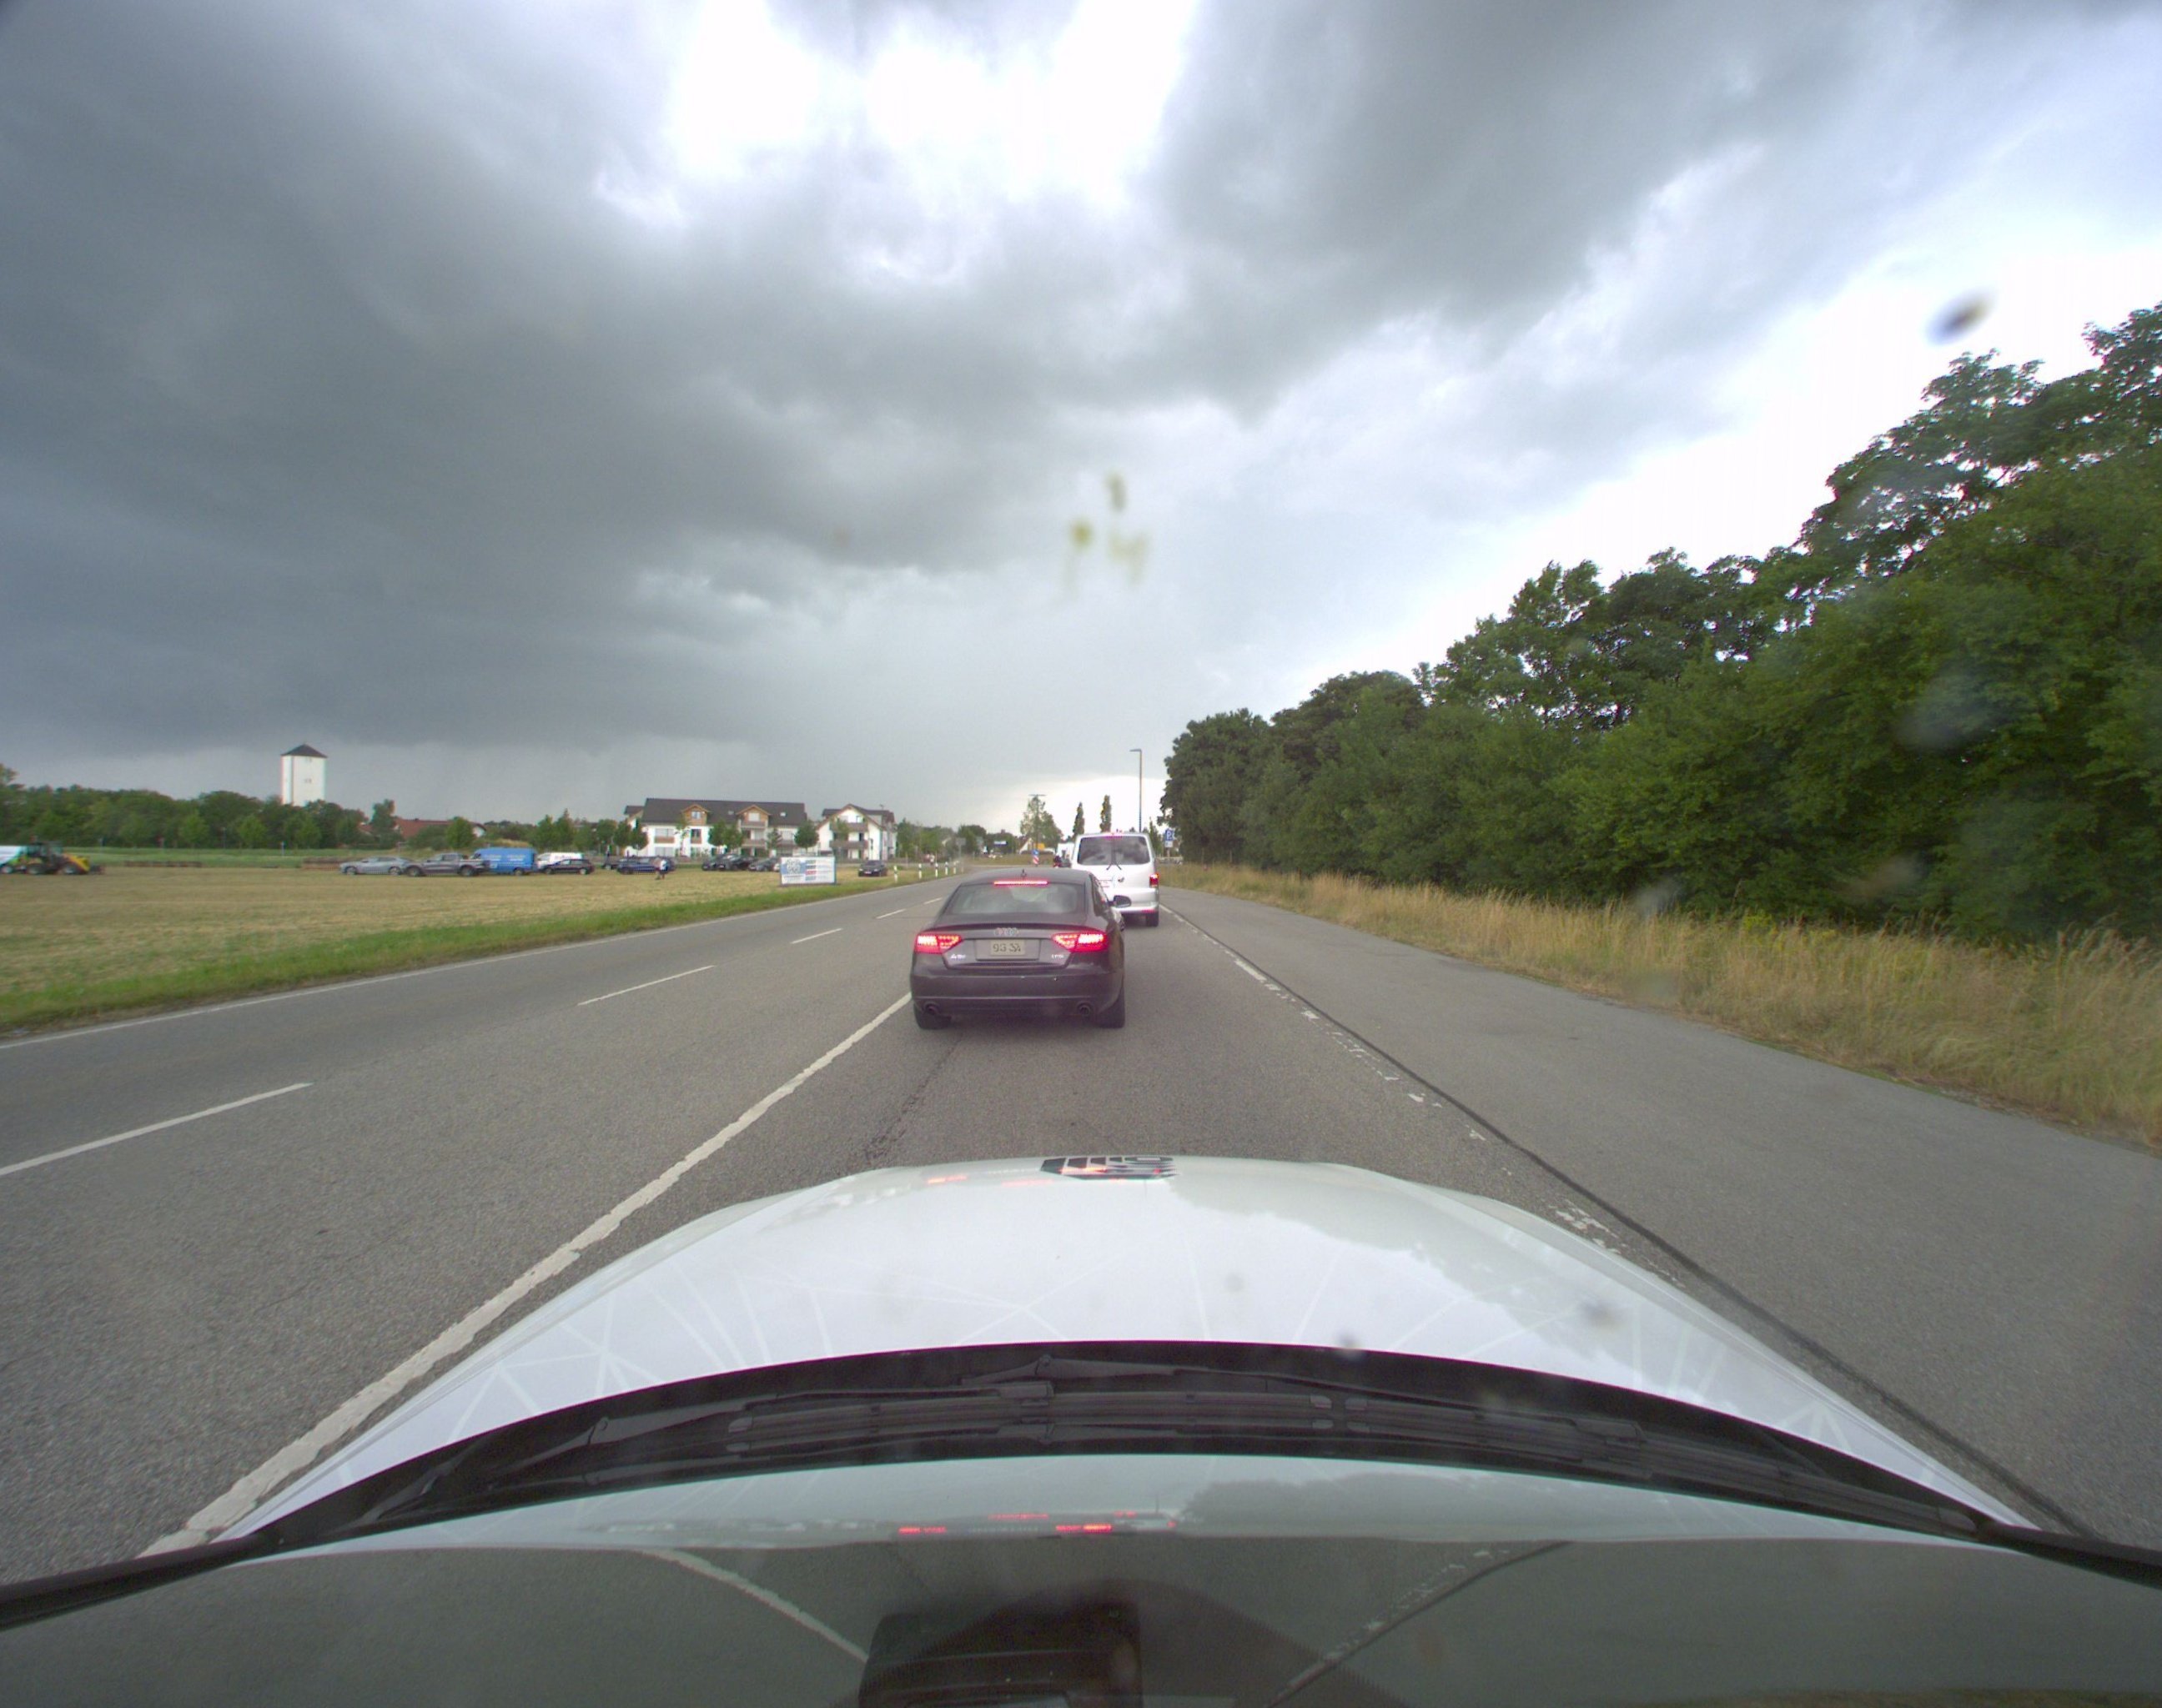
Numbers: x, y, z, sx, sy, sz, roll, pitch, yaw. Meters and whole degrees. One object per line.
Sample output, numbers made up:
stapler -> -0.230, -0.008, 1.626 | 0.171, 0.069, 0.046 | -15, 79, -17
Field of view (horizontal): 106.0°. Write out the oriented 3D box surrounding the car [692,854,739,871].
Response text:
car -> -37.657, 0.862, 84.007 | 1.977, 1.629, 4.232 | 0, 0, 20

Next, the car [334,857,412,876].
car -> -55.857, 0.969, 64.355 | 4.316, 1.461, 1.876 | 0, 0, -25

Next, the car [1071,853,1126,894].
car -> 0.675, 0.725, 31.756 | 1.986, 1.485, 4.000 | 0, 0, 1

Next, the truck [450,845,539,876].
truck -> -48.191, 0.549, 67.108 | 5.469, 2.446, 2.377 | 0, 0, -22

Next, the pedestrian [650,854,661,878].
pedestrian -> -32.153, 0.894, 61.531 | 0.548, 1.786, 0.676 | 0, -1, -10

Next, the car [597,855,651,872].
car -> -47.958, 1.008, 85.561 | 4.639, 1.697, 1.987 | 0, 0, -19

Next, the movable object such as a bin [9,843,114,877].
movable object such as a bin -> -69.375, 0.407, 55.492 | 4.006, 2.243, 1.869 | 0, 0, -27

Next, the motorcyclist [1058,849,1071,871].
motorcyclist -> -1.045, 0.367, 50.415 | 0.769, 1.383, 0.820 | 0, 0, 0

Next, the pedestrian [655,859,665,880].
pedestrian -> -32.237, 1.200, 62.330 | 0.591, 1.555, 0.622 | 0, -1, -18

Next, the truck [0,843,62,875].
truck -> -75.892, 0.343, 56.345 | 6.075, 2.217, 2.697 | 0, 0, -26

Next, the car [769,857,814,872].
car -> -28.655, 1.025, 80.761 | 1.977, 1.446, 4.232 | 0, 0, 20

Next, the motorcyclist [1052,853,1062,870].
motorcyclist -> -1.895, 0.575, 63.857 | 0.783, 1.356, 0.853 | 0, 0, -1

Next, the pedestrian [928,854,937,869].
pedestrian -> -15.358, 0.767, 84.406 | 0.661, 1.586, 0.695 | 0, -1, -39

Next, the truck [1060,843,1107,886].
truck -> 0.189, 0.511, 40.801 | 2.185, 2.014, 5.087 | 0, 0, 2

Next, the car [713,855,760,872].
car -> -34.536, 0.939, 81.726 | 1.977, 1.629, 4.232 | 0, 0, 20

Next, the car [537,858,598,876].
car -> -45.229, 1.107, 71.845 | 4.168, 1.519, 1.987 | 0, 0, -19

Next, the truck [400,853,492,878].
truck -> -49.029, 0.866, 63.016 | 5.252, 1.920, 2.095 | 0, 0, -25

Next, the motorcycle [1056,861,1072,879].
motorcycle -> -1.047, 0.976, 50.409 | 0.917, 1.094, 2.189 | 0, 0, 1

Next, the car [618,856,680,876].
car -> -39.203, 1.068, 73.998 | 4.730, 1.697, 1.987 | 0, 0, -19

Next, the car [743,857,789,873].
car -> -31.398, 1.048, 81.218 | 1.977, 1.536, 4.232 | 0, 0, 20

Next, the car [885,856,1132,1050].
car -> -0.460, 0.760, 8.257 | 1.867, 1.454, 4.180 | 0, 0, 3

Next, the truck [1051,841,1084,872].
truck -> -1.271, 0.210, 75.265 | 2.622, 2.737, 5.856 | 1, 0, -5

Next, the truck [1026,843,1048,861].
truck -> -8.904, -0.456, 164.516 | 3.574, 3.578, 9.930 | 1, 0, -8

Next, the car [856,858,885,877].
car -> -17.470, 1.095, 67.845 | 1.993, 1.442, 3.987 | 0, 1, -9

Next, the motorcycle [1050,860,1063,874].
motorcycle -> -1.897, 1.009, 63.938 | 0.941, 1.019, 2.284 | 0, 0, 0

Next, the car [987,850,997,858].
car -> -19.586, -0.016, 179.990 | 1.989, 1.642, 3.996 | 1, 0, -3

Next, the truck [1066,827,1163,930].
truck -> 0.736, 0.475, 18.256 | 1.897, 1.998, 4.630 | 0, 0, 2

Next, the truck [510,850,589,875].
truck -> -48.660, 0.771, 74.740 | 5.586, 2.196, 2.588 | 0, 0, -22
